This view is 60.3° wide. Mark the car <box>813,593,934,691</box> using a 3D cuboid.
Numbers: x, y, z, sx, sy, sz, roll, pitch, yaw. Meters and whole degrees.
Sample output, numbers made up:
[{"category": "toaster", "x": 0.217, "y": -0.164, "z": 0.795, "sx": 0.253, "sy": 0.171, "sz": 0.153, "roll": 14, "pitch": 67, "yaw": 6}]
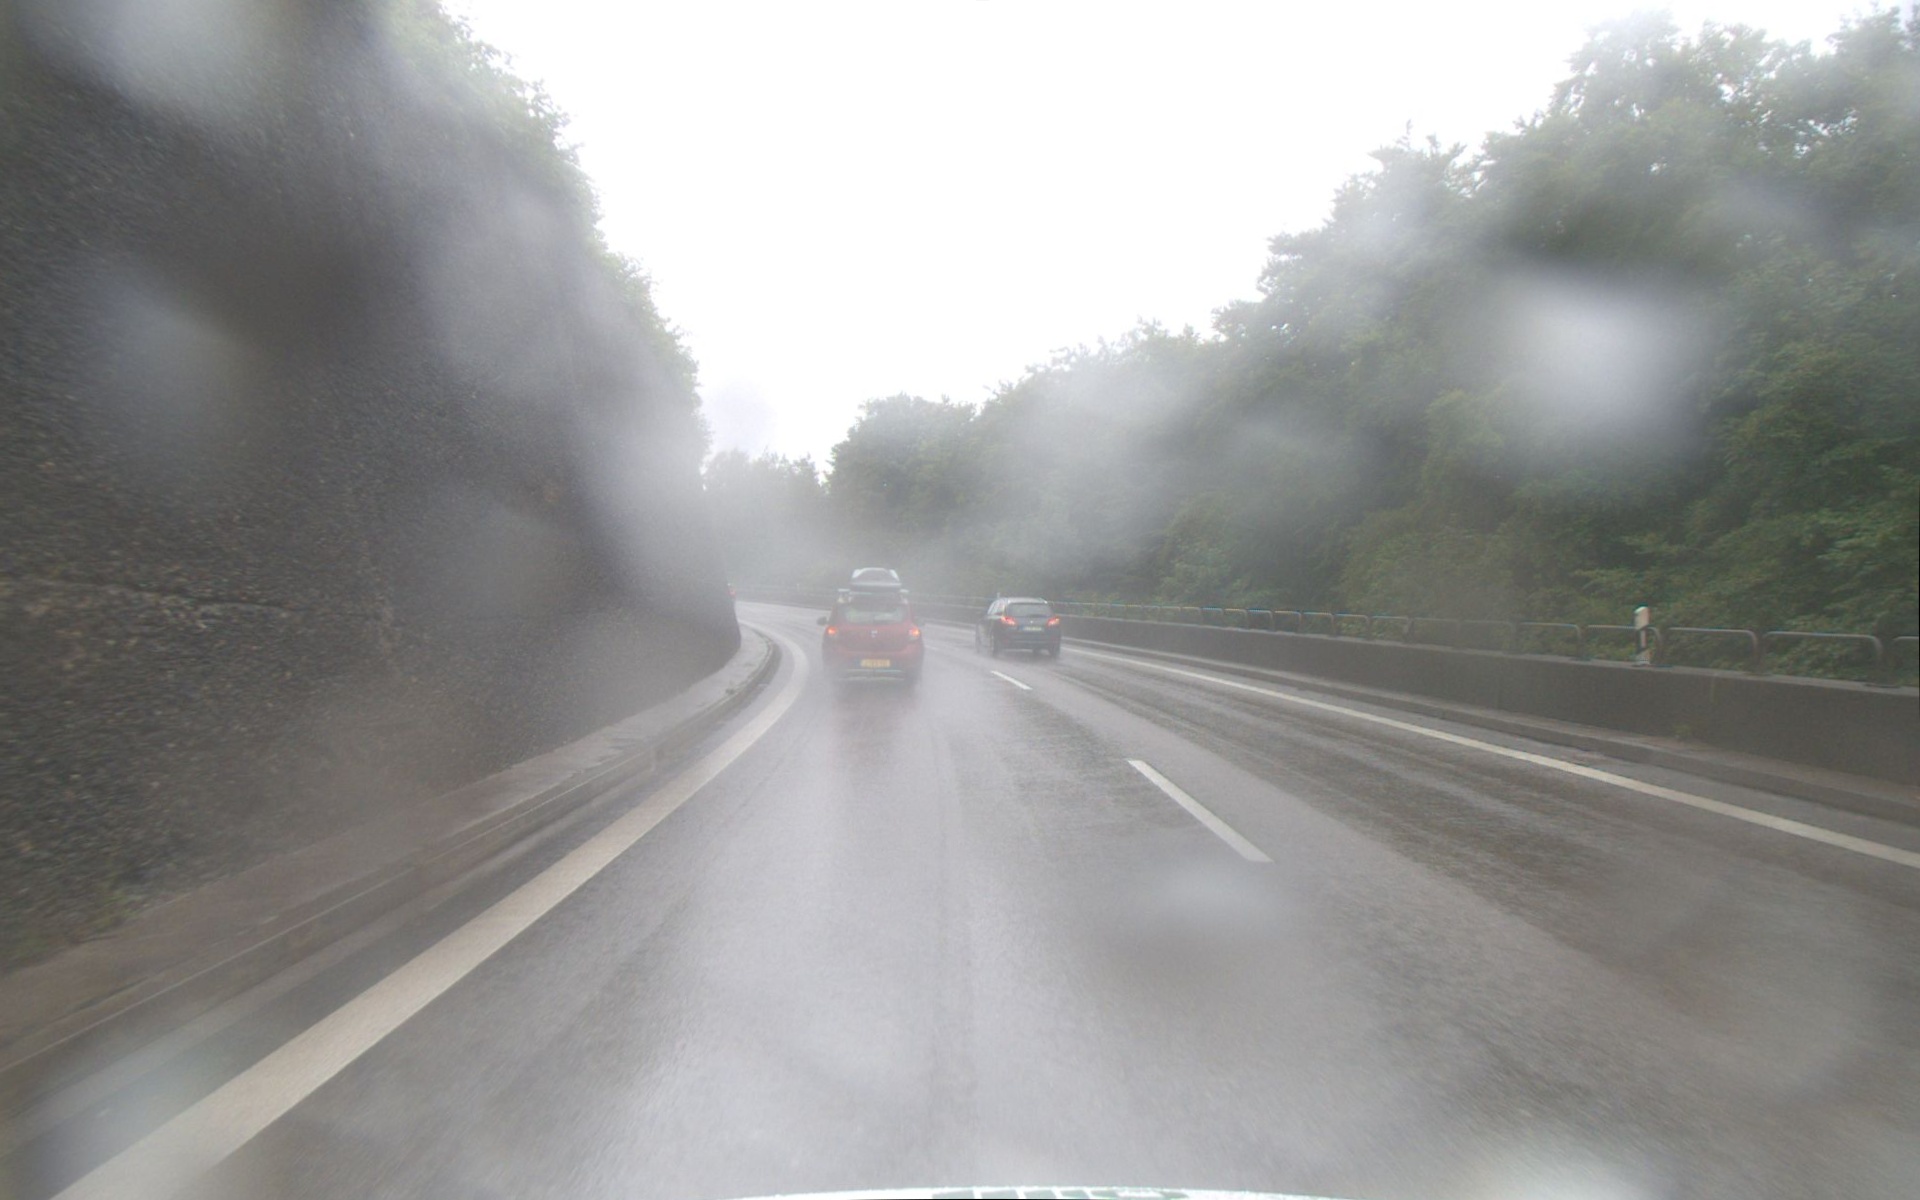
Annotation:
[{"category": "car", "x": -1.576, "y": 0.689, "z": 29.277, "sx": 1.954, "sy": 1.579, "sz": 3.996, "roll": 1, "pitch": 0, "yaw": -4}]

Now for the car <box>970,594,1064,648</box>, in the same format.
[{"category": "car", "x": 1.444, "y": 0.523, "z": 43.311, "sx": 1.767, "sy": 1.330, "sz": 3.993, "roll": 1, "pitch": 0, "yaw": -8}]
